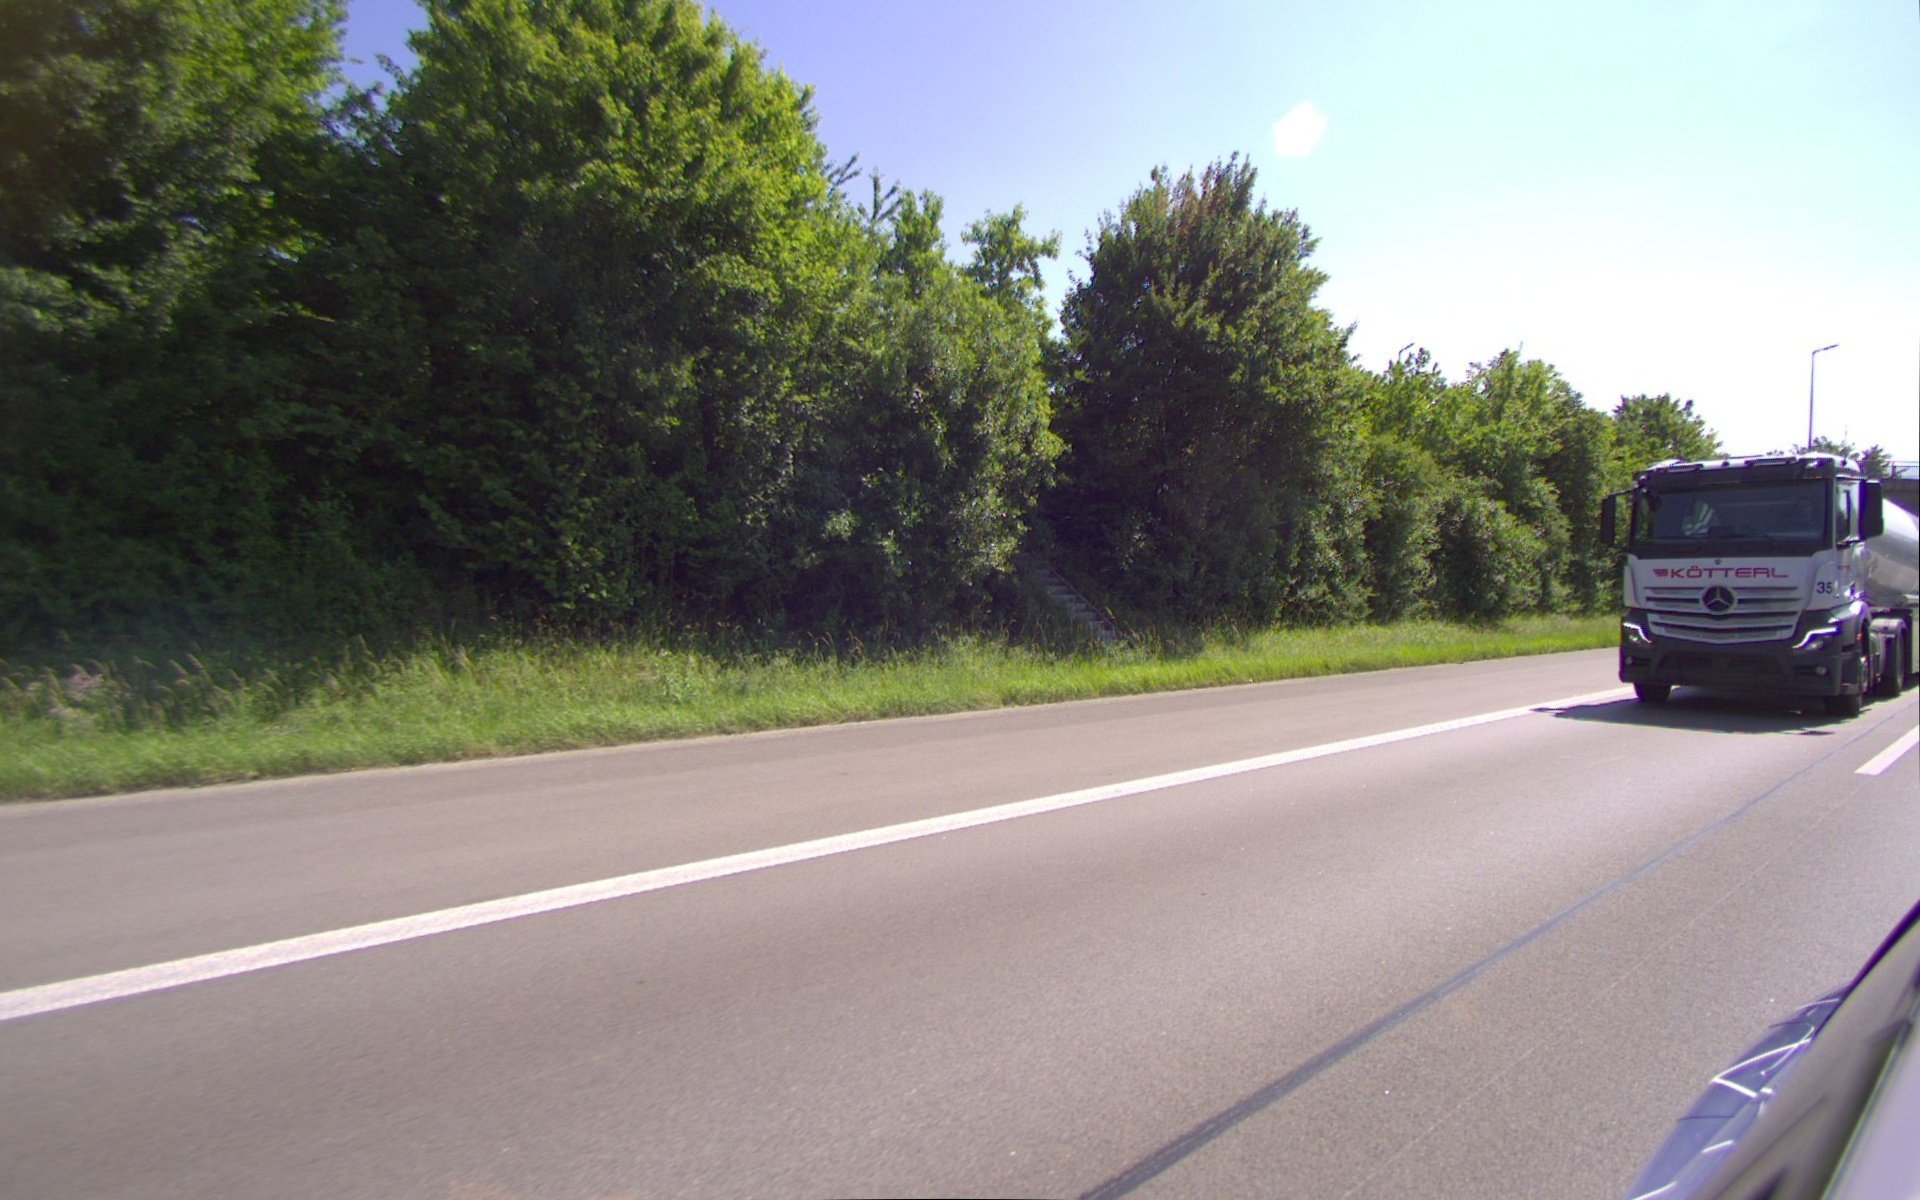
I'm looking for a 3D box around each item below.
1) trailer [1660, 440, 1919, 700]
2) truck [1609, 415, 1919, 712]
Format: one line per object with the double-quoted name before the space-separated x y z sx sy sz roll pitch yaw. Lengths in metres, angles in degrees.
"trailer" 15.613 -0.451 18.013 10.958 3.432 2.652 -1 1 -41
"truck" 11.969 -0.452 14.775 6.376 3.417 2.641 0 0 -42
